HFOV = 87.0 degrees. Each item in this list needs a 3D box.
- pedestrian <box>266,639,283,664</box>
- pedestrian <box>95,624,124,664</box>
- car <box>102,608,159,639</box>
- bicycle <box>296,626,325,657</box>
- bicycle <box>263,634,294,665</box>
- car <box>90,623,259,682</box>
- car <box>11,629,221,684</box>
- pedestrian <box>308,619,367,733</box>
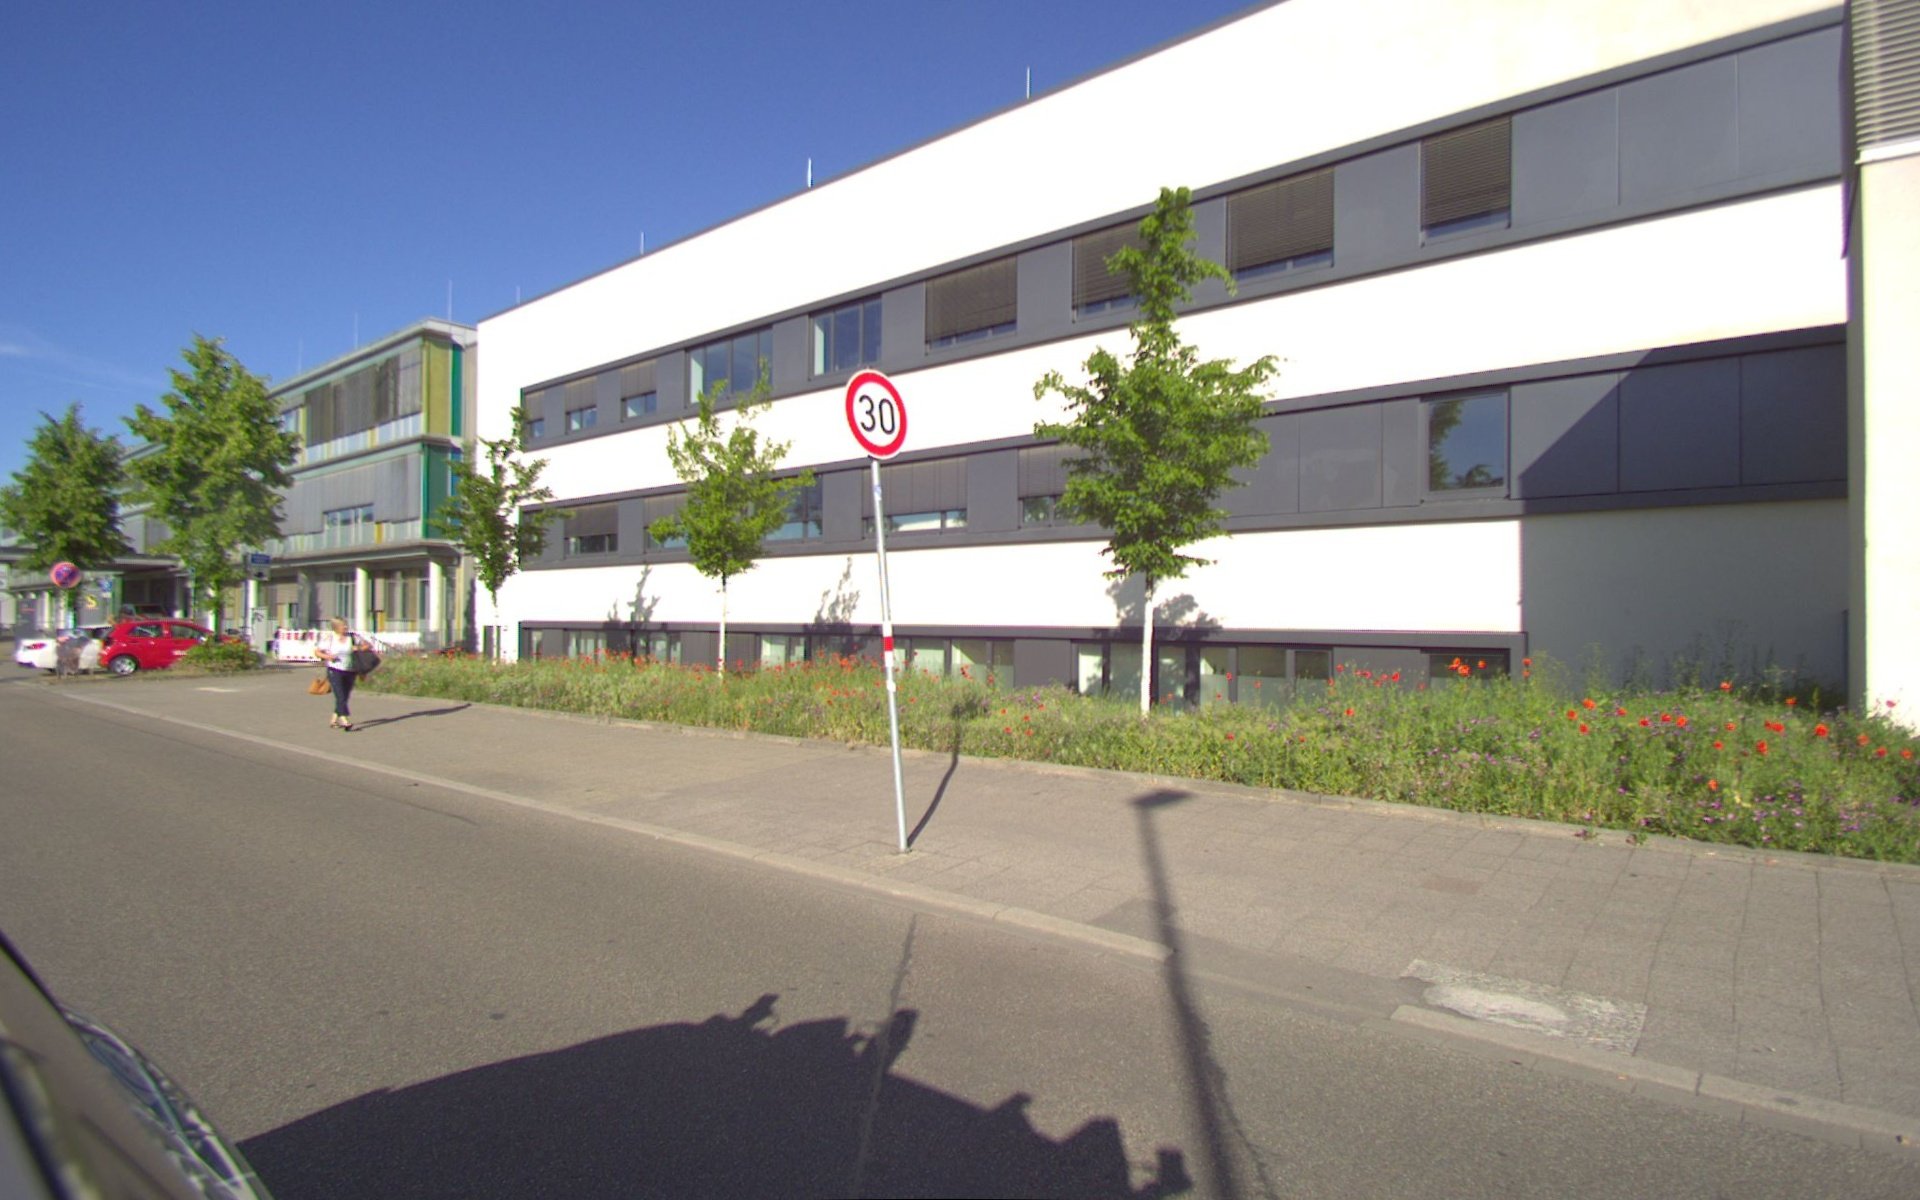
[{"bbox_3d":[-32.491,2.434,47.994,0.555,1.182,0.526,-2,-2,41],"label":"pedestrian"},{"bbox_3d":[-34.488,1.768,41.024,0.779,1.561,0.765,-1,0,40],"label":"pedestrian"},{"bbox_3d":[-52.447,1.493,63.947,4.707,1.905,1.900,-2,-2,40],"label":"car"},{"bbox_3d":[-24.183,1.535,37.694,1.763,1.132,0.416,-2,-2,41],"label":"bicycle"},{"bbox_3d":[-25.319,1.840,37.576,1.861,1.120,0.529,-2,-3,43],"label":"bicycle"},{"bbox_3d":[-21.975,1.421,28.383,3.592,1.480,1.615,-1,-1,-44],"label":"car"},{"bbox_3d":[-24.236,1.566,29.200,1.699,1.378,4.463,-1,-1,42],"label":"car"},{"bbox_3d":[-8.690,1.037,14.122,0.607,1.535,0.532,-1,-2,41],"label":"pedestrian"}]
